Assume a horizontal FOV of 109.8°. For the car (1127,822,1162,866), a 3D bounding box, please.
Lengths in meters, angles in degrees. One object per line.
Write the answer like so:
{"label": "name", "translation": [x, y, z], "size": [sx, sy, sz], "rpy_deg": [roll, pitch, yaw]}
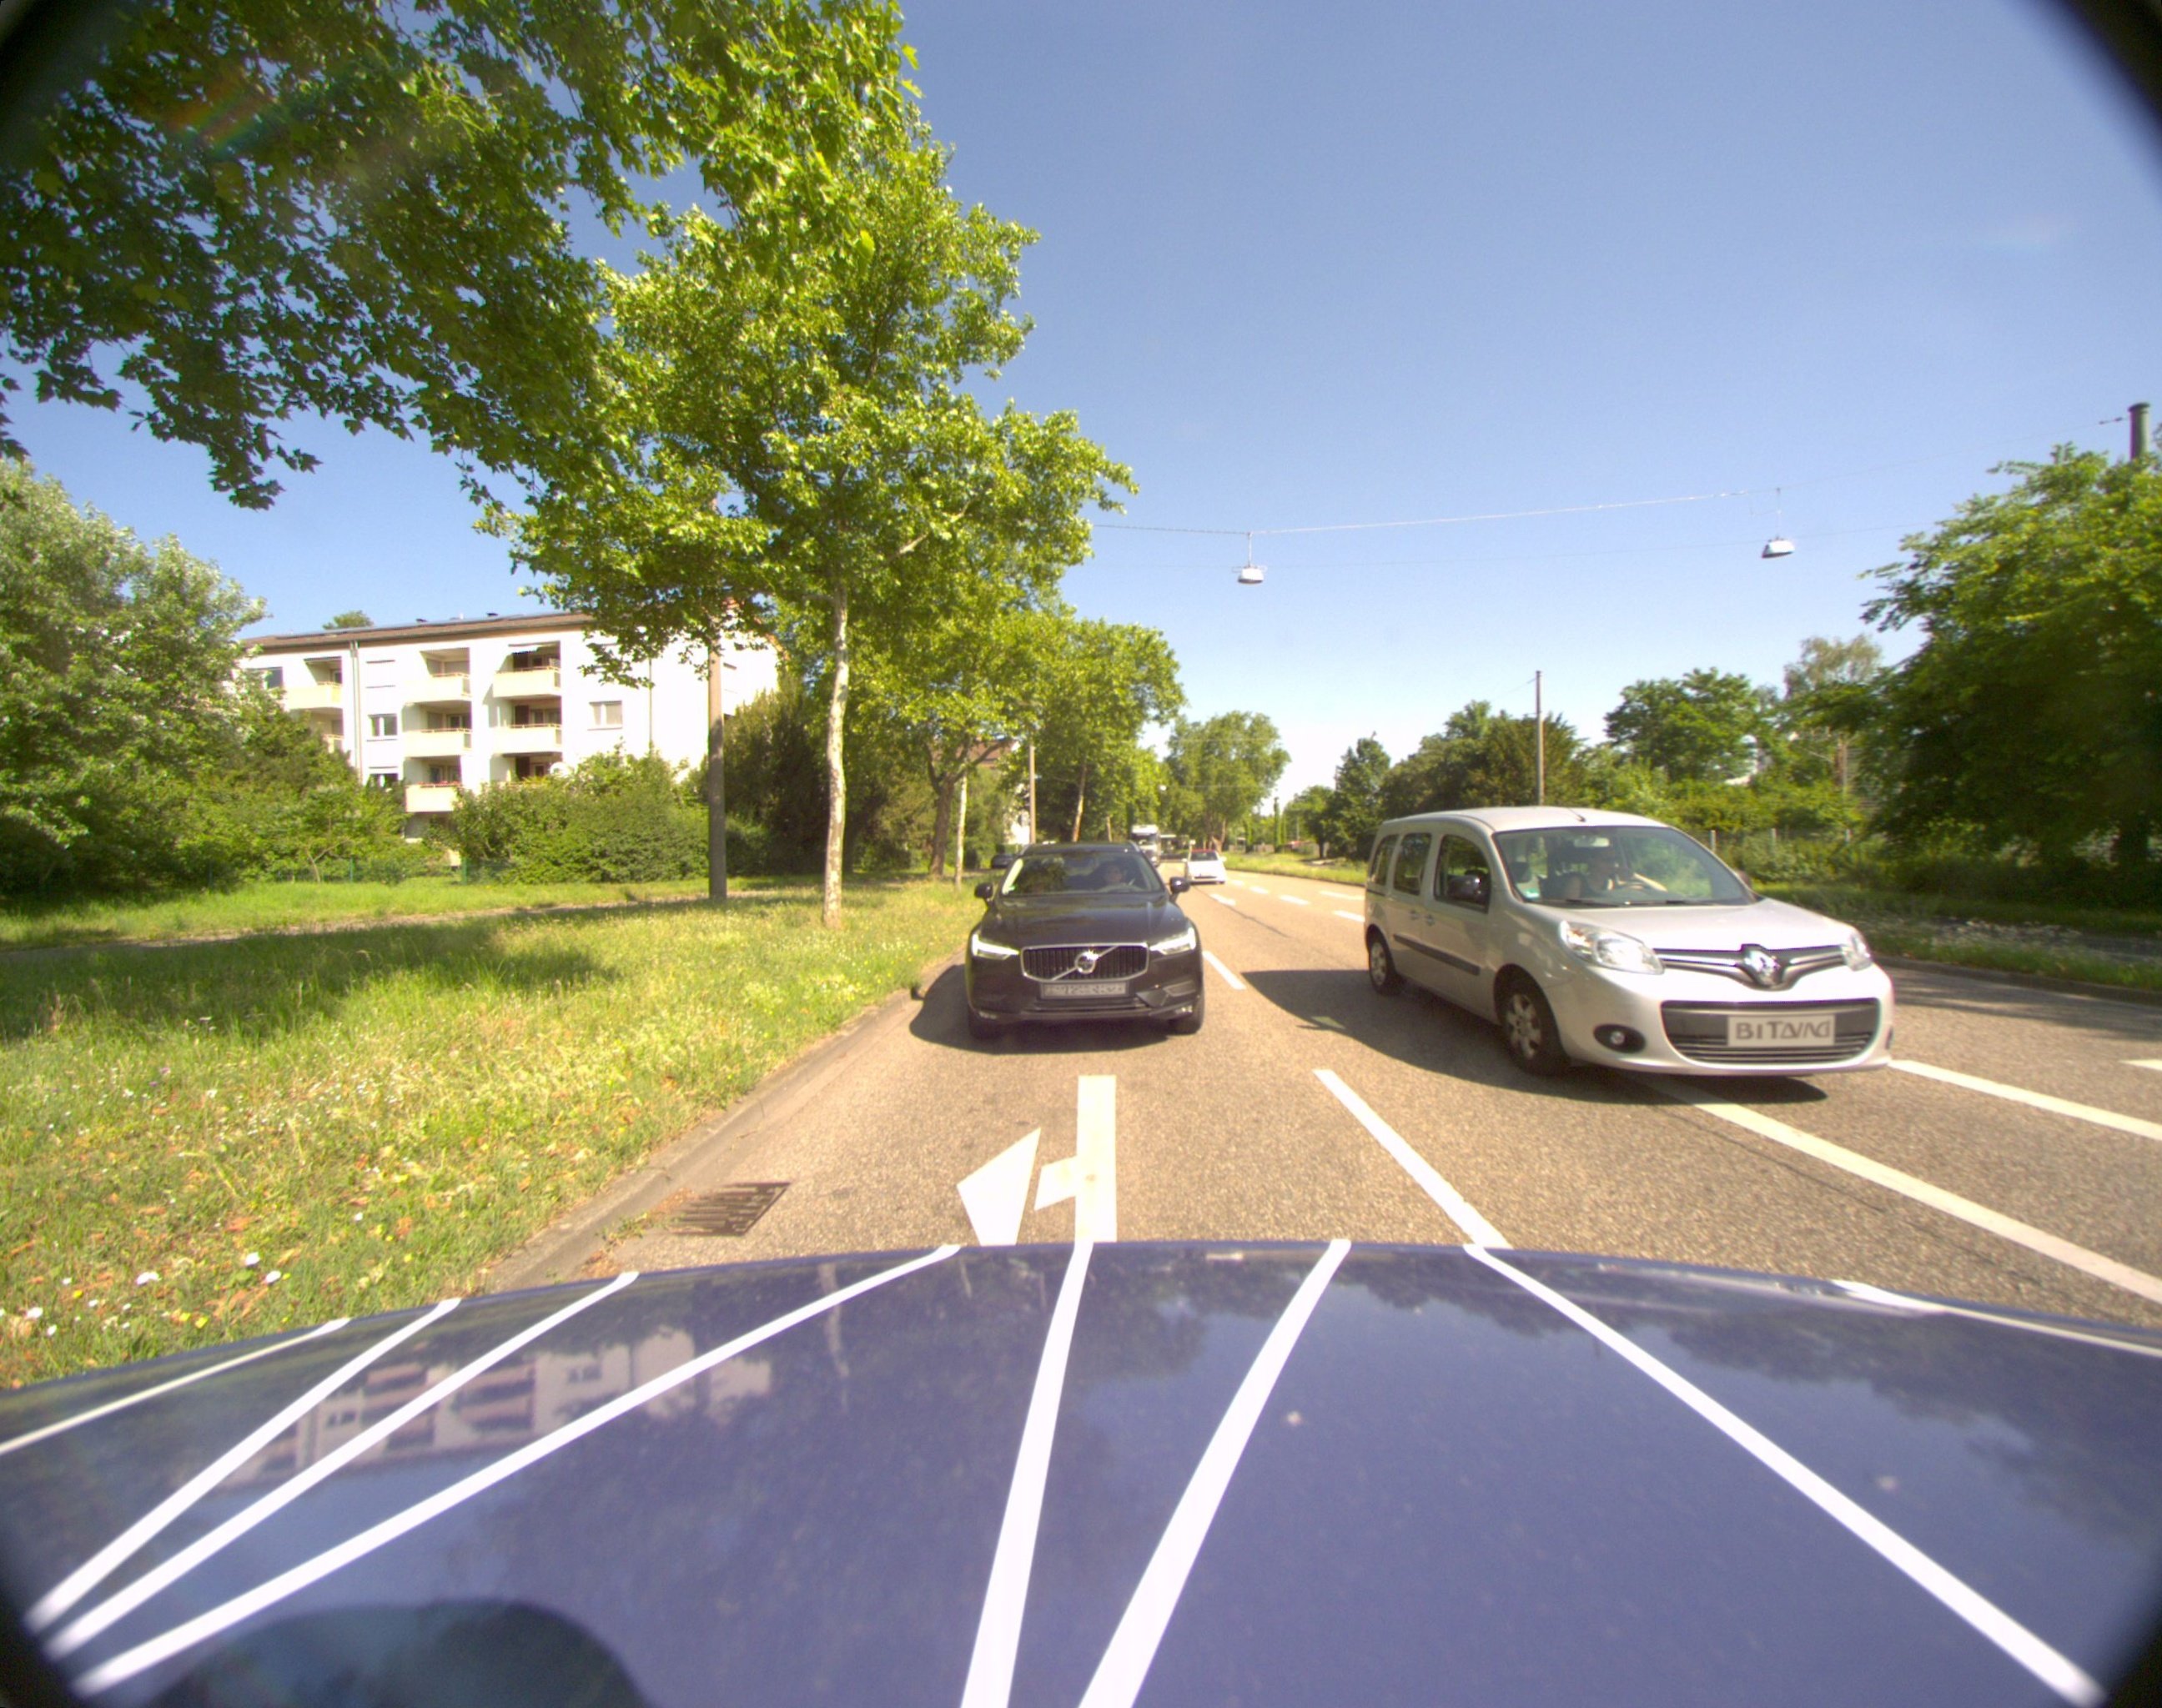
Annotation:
{"label": "car", "translation": [5.931, -0.953, 71.978], "size": [2.902, 3.898, 7.141], "rpy_deg": [0, 1, 2]}

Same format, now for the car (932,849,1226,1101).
{"label": "car", "translation": [0.020, 0.796, 7.485], "size": [1.904, 1.606, 4.872], "rpy_deg": [-2, 1, 1]}

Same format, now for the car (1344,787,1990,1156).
{"label": "car", "translation": [3.712, 0.583, 6.029], "size": [1.876, 1.829, 4.375], "rpy_deg": [-2, 1, 2]}

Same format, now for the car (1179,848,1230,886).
{"label": "car", "translation": [5.411, 0.511, 33.797], "size": [1.689, 1.482, 4.376], "rpy_deg": [-3, 1, 3]}

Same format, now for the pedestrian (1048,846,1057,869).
{"label": "pedestrian", "translation": [-2.517, 0.332, 67.015], "size": [0.639, 2.002, 0.480], "rpy_deg": [0, 1, 10]}

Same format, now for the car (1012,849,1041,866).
{"label": "car", "translation": [-5.245, 0.329, 73.807], "size": [1.504, 1.633, 4.094], "rpy_deg": [0, 1, 17]}

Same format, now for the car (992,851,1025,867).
{"label": "car", "translation": [-6.481, 0.424, 68.578], "size": [1.504, 1.364, 4.094], "rpy_deg": [0, 1, 17]}
